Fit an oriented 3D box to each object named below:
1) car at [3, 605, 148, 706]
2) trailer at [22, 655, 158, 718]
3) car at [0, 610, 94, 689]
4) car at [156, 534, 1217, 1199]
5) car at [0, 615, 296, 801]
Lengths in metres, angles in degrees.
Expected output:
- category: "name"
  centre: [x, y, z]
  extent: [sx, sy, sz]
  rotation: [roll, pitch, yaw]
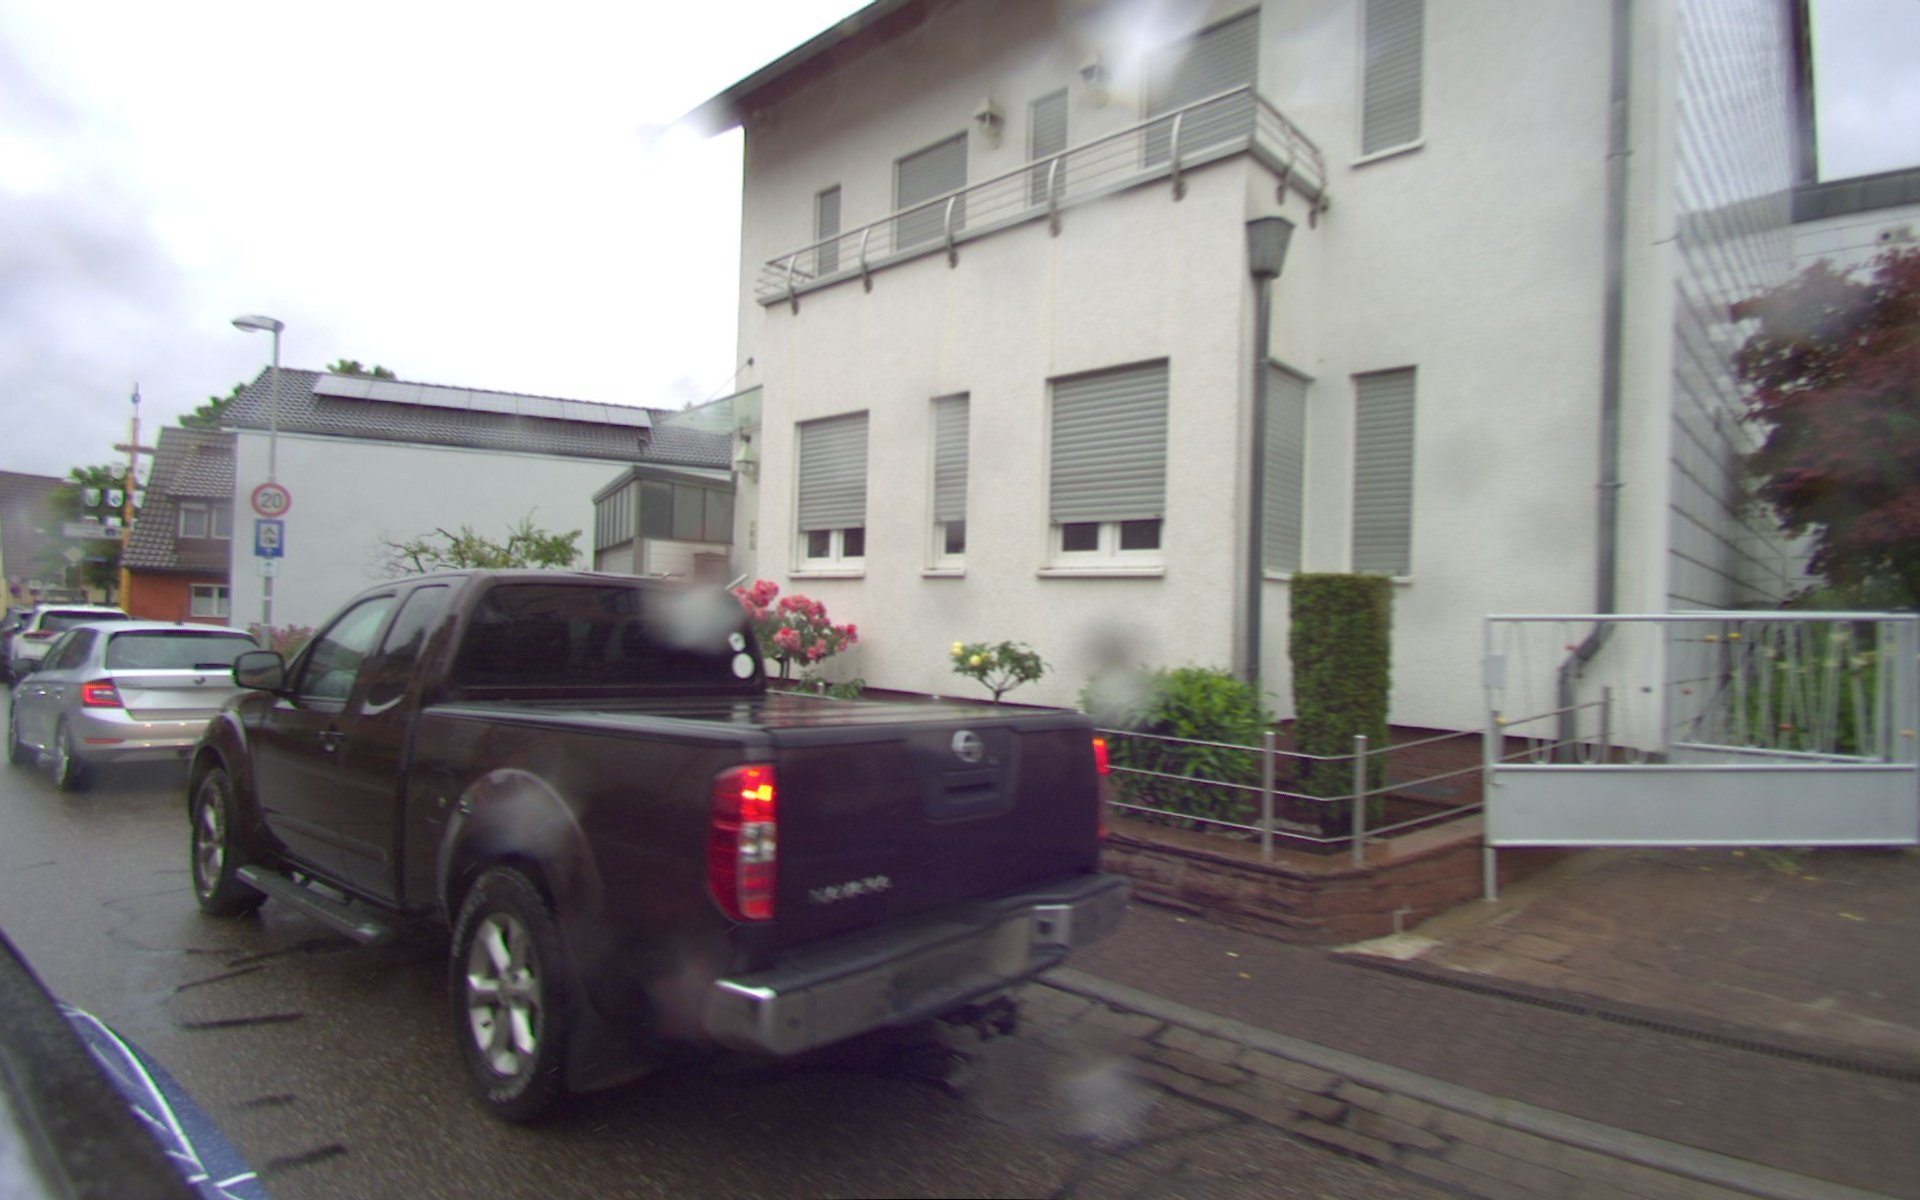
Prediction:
- category: "car"
  centre: [-16.955, 0.975, 19.326]
  extent: [1.790, 1.697, 4.186]
  rotation: [3, -2, -45]
- category: "trailer"
  centre: [-14.456, 1.377, 16.771]
  extent: [1.483, 0.821, 3.007]
  rotation: [3, -2, -45]
- category: "car"
  centre: [-21.234, 1.081, 23.222]
  extent: [4.185, 1.628, 1.653]
  rotation: [0, -2, 44]
- category: "car"
  centre: [-1.692, 0.737, 4.426]
  extent: [5.193, 1.686, 1.815]
  rotation: [0, -2, 40]
- category: "car"
  centre: [-8.095, 0.948, 9.957]
  extent: [3.712, 1.493, 1.563]
  rotation: [-2, -4, 40]
